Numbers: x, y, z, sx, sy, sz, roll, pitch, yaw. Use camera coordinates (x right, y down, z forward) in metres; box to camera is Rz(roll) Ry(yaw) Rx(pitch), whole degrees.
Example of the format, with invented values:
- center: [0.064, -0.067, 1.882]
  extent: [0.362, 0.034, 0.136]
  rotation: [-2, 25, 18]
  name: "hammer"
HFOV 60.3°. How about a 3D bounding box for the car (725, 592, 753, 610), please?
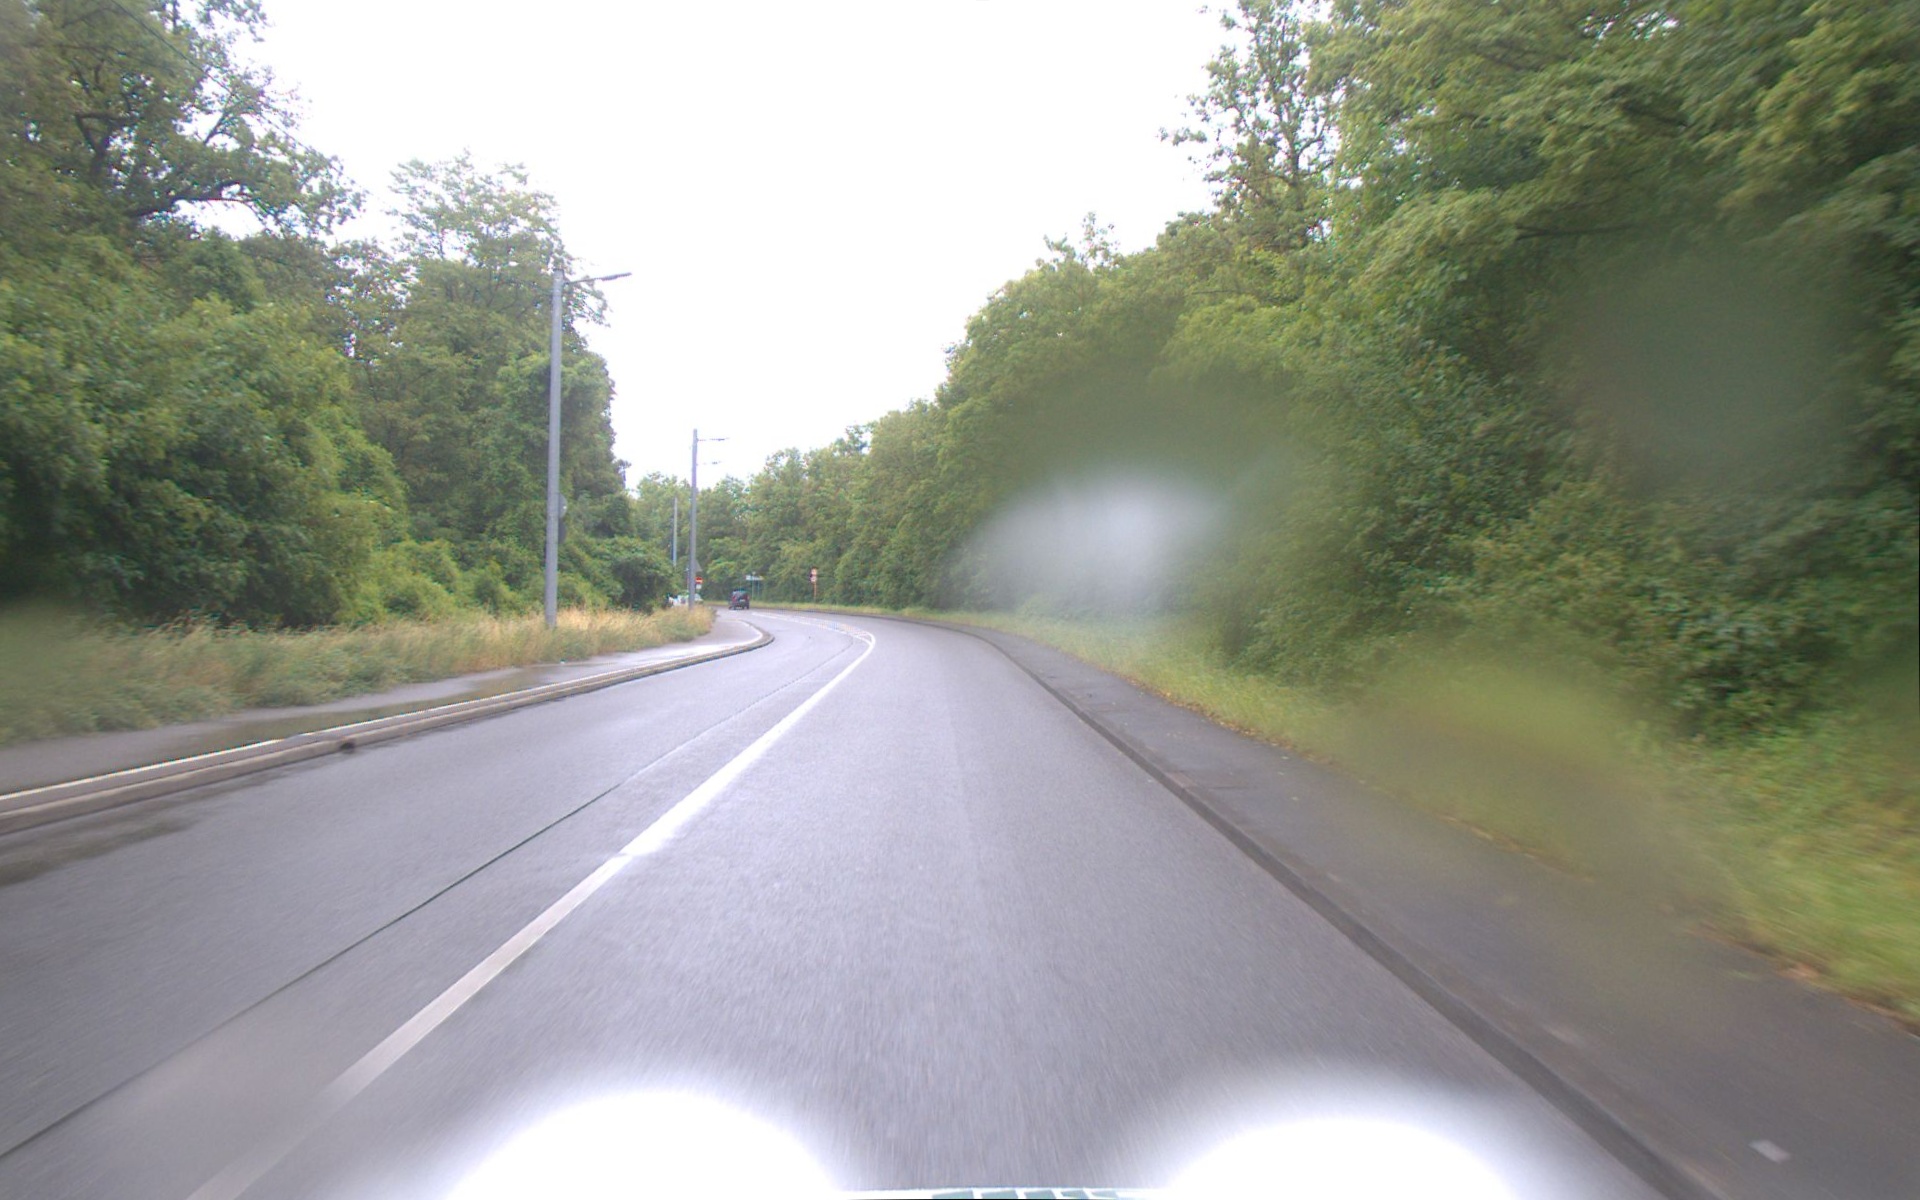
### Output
- center: [-22.749, 0.138, 170.084]
  extent: [1.841, 1.623, 3.975]
  rotation: [5, -1, -21]
  name: "car"
